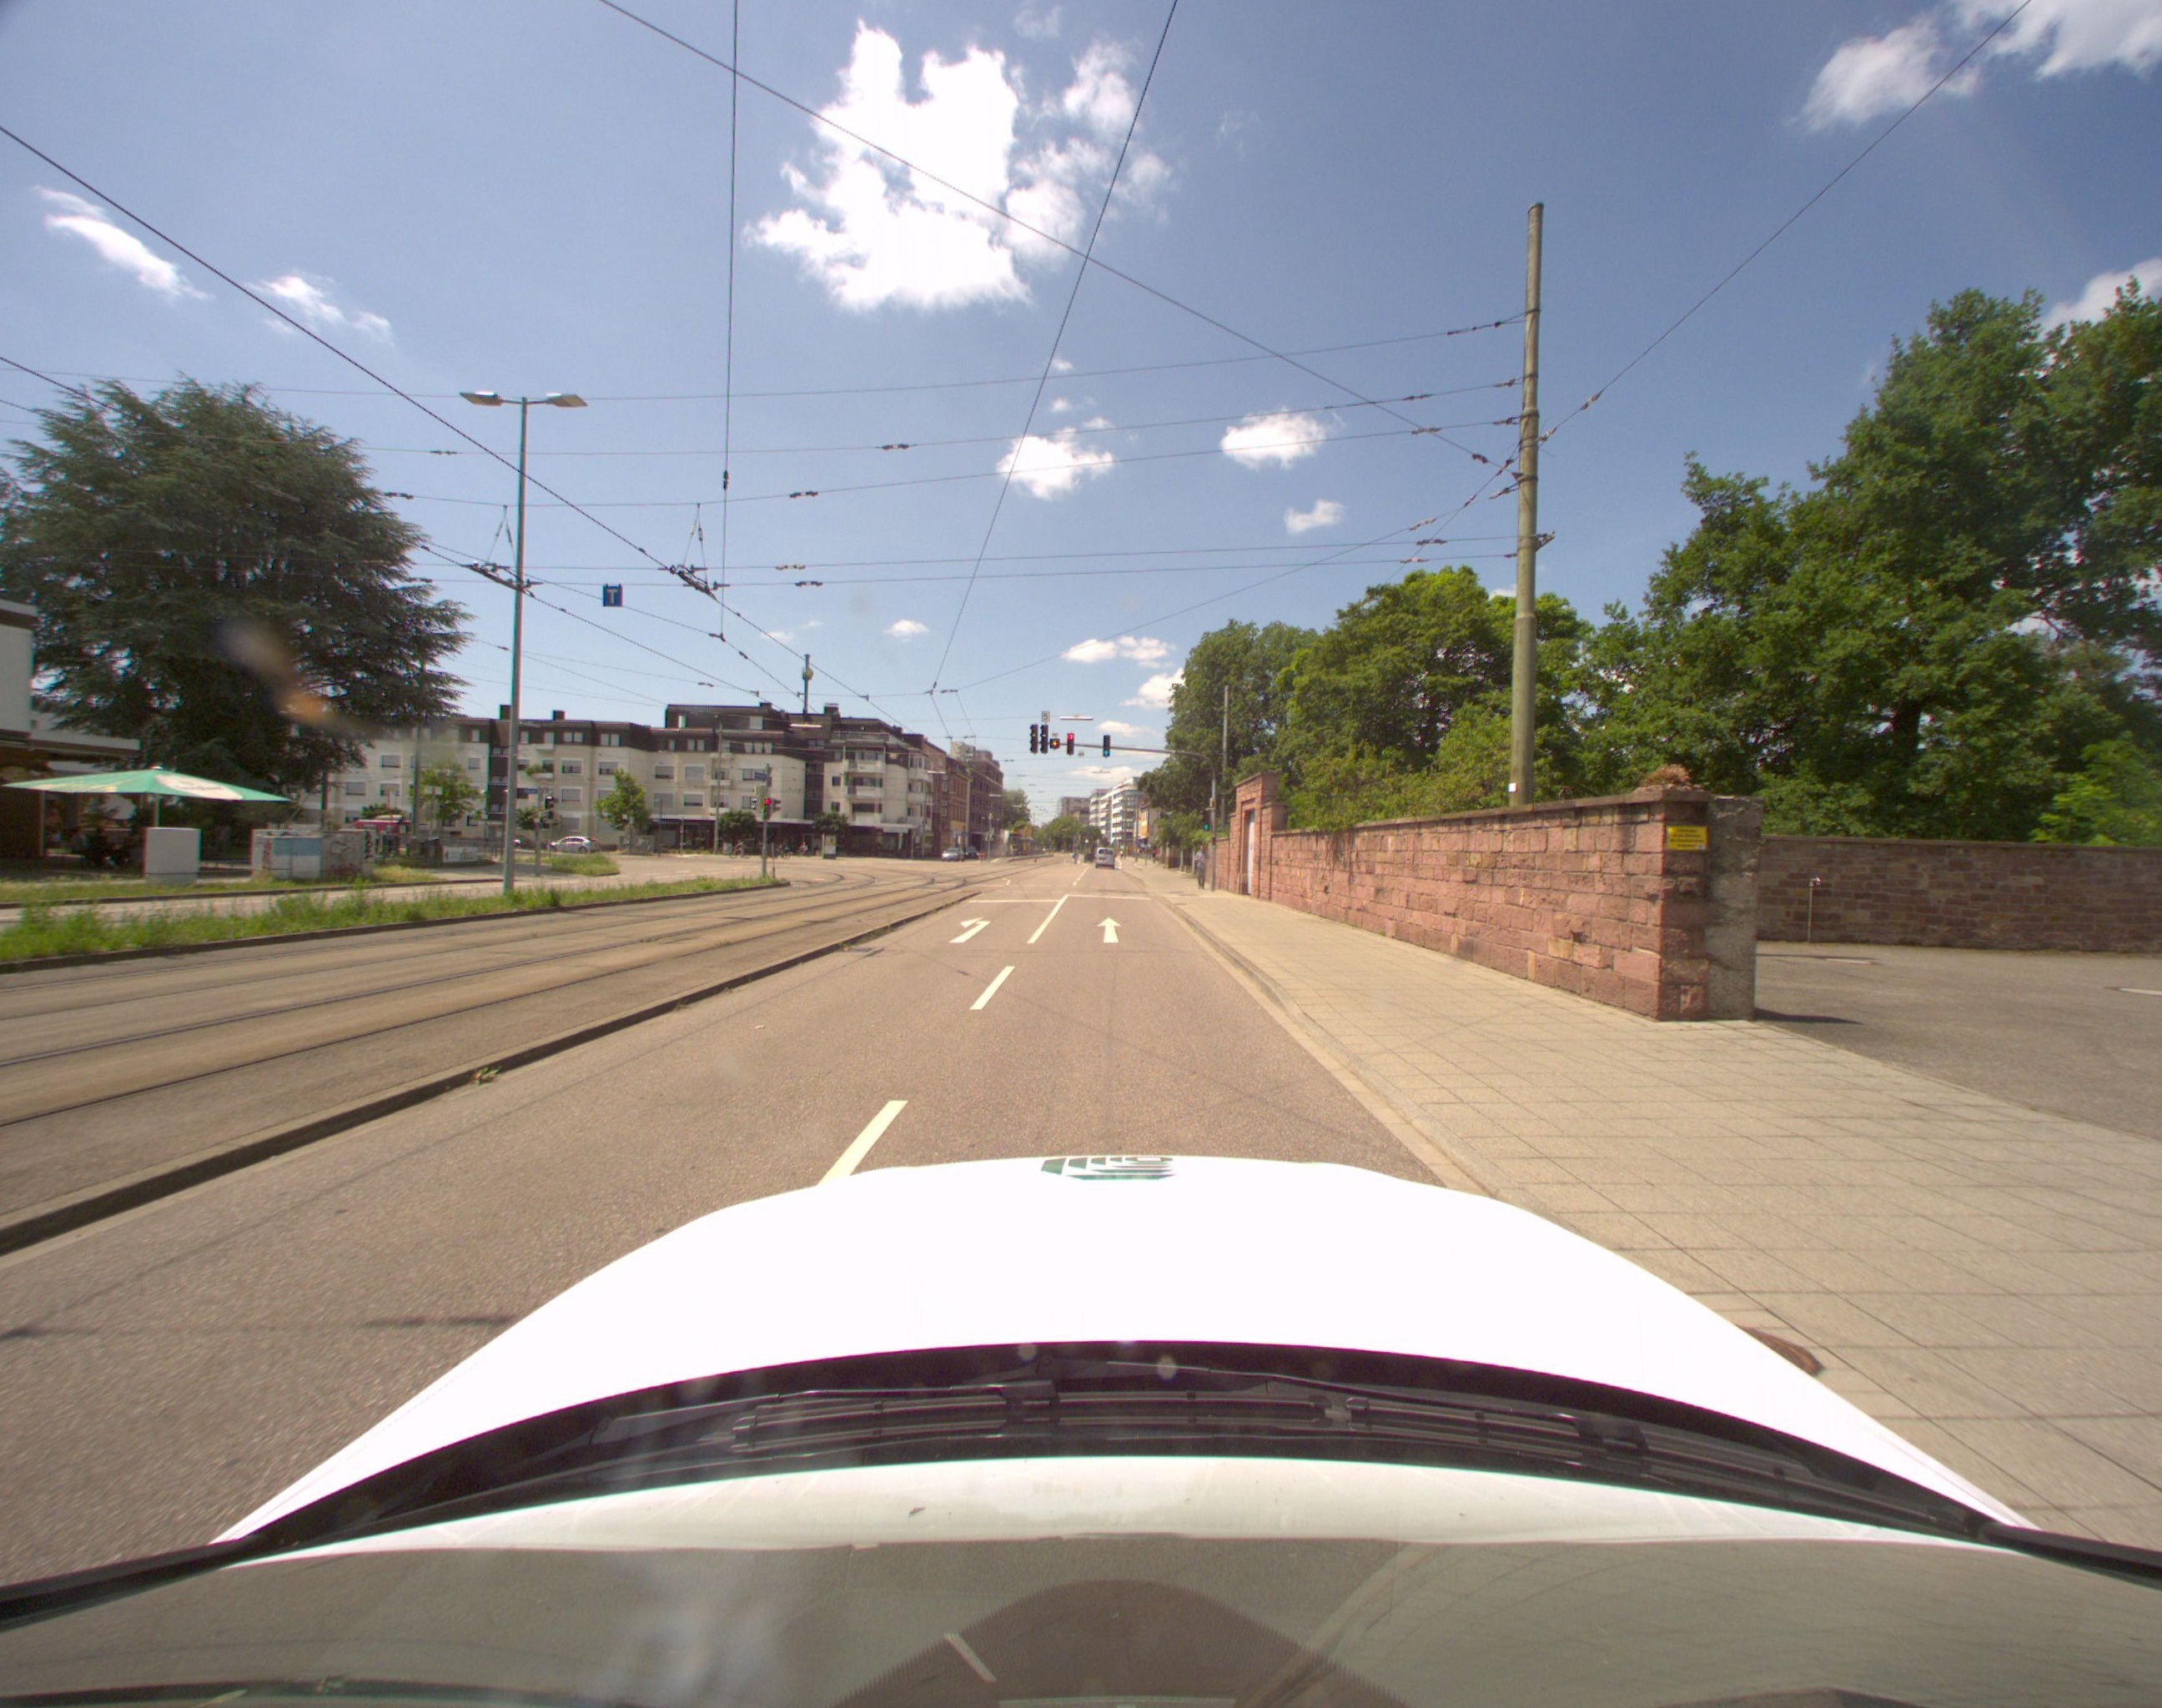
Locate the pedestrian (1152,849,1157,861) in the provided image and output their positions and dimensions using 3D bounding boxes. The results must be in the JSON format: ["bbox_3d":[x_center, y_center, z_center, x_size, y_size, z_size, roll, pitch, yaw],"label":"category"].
[{"bbox_3d":[9.234,0.162,102.467,0.574,1.556,0.787,0,-1,5],"label":"pedestrian"}]

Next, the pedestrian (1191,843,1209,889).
[{"bbox_3d":[4.935,0.478,33.709,0.711,1.852,0.769,1,0,8],"label":"pedestrian"}]

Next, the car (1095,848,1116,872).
[{"bbox_3d":[2.207,0.513,73.390,1.745,2.013,4.004,1,1,3],"label":"car"}]

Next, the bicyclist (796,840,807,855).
[{"bbox_3d":[-26.895,-0.612,78.430,0.853,1.468,0.649,0,-1,-38],"label":"bicyclist"}]

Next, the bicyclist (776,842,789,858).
[{"bbox_3d":[-26.870,-0.340,73.276,0.623,1.422,0.970,-1,-1,39],"label":"bicyclist"}]

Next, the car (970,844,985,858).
[{"bbox_3d":[-13.746,-0.374,108.027,1.720,1.683,4.274,2,1,-4],"label":"car"}]

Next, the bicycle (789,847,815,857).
[{"bbox_3d":[-26.897,-0.169,78.441,2.269,0.935,0.664,0,-1,-40],"label":"bicycle"}]

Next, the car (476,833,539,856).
[{"bbox_3d":[-50.213,-0.855,71.359,3.974,2.013,2.000,0,0,0],"label":"car"}]

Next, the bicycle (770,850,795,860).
[{"bbox_3d":[-26.855,0.084,73.287,0.413,0.881,2.271,-1,-1,39],"label":"bicycle"}]

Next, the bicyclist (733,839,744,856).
[{"bbox_3d":[-30.146,-0.527,71.619,0.853,1.487,0.732,0,-1,-19],"label":"bicyclist"}]

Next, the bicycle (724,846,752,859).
[{"bbox_3d":[-30.164,-0.127,71.607,2.258,1.101,0.513,0,-1,-21],"label":"bicycle"}]

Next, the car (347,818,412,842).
[{"bbox_3d":[-61.298,-2.068,71.211,3.970,2.013,2.002,1,0,3],"label":"car"}]

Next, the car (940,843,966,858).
[{"bbox_3d":[-13.555,-0.349,86.615,1.987,1.471,4.401,1,0,0],"label":"car"}]

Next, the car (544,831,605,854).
[{"bbox_3d":[-44.042,-0.999,70.814,3.974,1.912,2.000,1,0,0],"label":"car"}]
